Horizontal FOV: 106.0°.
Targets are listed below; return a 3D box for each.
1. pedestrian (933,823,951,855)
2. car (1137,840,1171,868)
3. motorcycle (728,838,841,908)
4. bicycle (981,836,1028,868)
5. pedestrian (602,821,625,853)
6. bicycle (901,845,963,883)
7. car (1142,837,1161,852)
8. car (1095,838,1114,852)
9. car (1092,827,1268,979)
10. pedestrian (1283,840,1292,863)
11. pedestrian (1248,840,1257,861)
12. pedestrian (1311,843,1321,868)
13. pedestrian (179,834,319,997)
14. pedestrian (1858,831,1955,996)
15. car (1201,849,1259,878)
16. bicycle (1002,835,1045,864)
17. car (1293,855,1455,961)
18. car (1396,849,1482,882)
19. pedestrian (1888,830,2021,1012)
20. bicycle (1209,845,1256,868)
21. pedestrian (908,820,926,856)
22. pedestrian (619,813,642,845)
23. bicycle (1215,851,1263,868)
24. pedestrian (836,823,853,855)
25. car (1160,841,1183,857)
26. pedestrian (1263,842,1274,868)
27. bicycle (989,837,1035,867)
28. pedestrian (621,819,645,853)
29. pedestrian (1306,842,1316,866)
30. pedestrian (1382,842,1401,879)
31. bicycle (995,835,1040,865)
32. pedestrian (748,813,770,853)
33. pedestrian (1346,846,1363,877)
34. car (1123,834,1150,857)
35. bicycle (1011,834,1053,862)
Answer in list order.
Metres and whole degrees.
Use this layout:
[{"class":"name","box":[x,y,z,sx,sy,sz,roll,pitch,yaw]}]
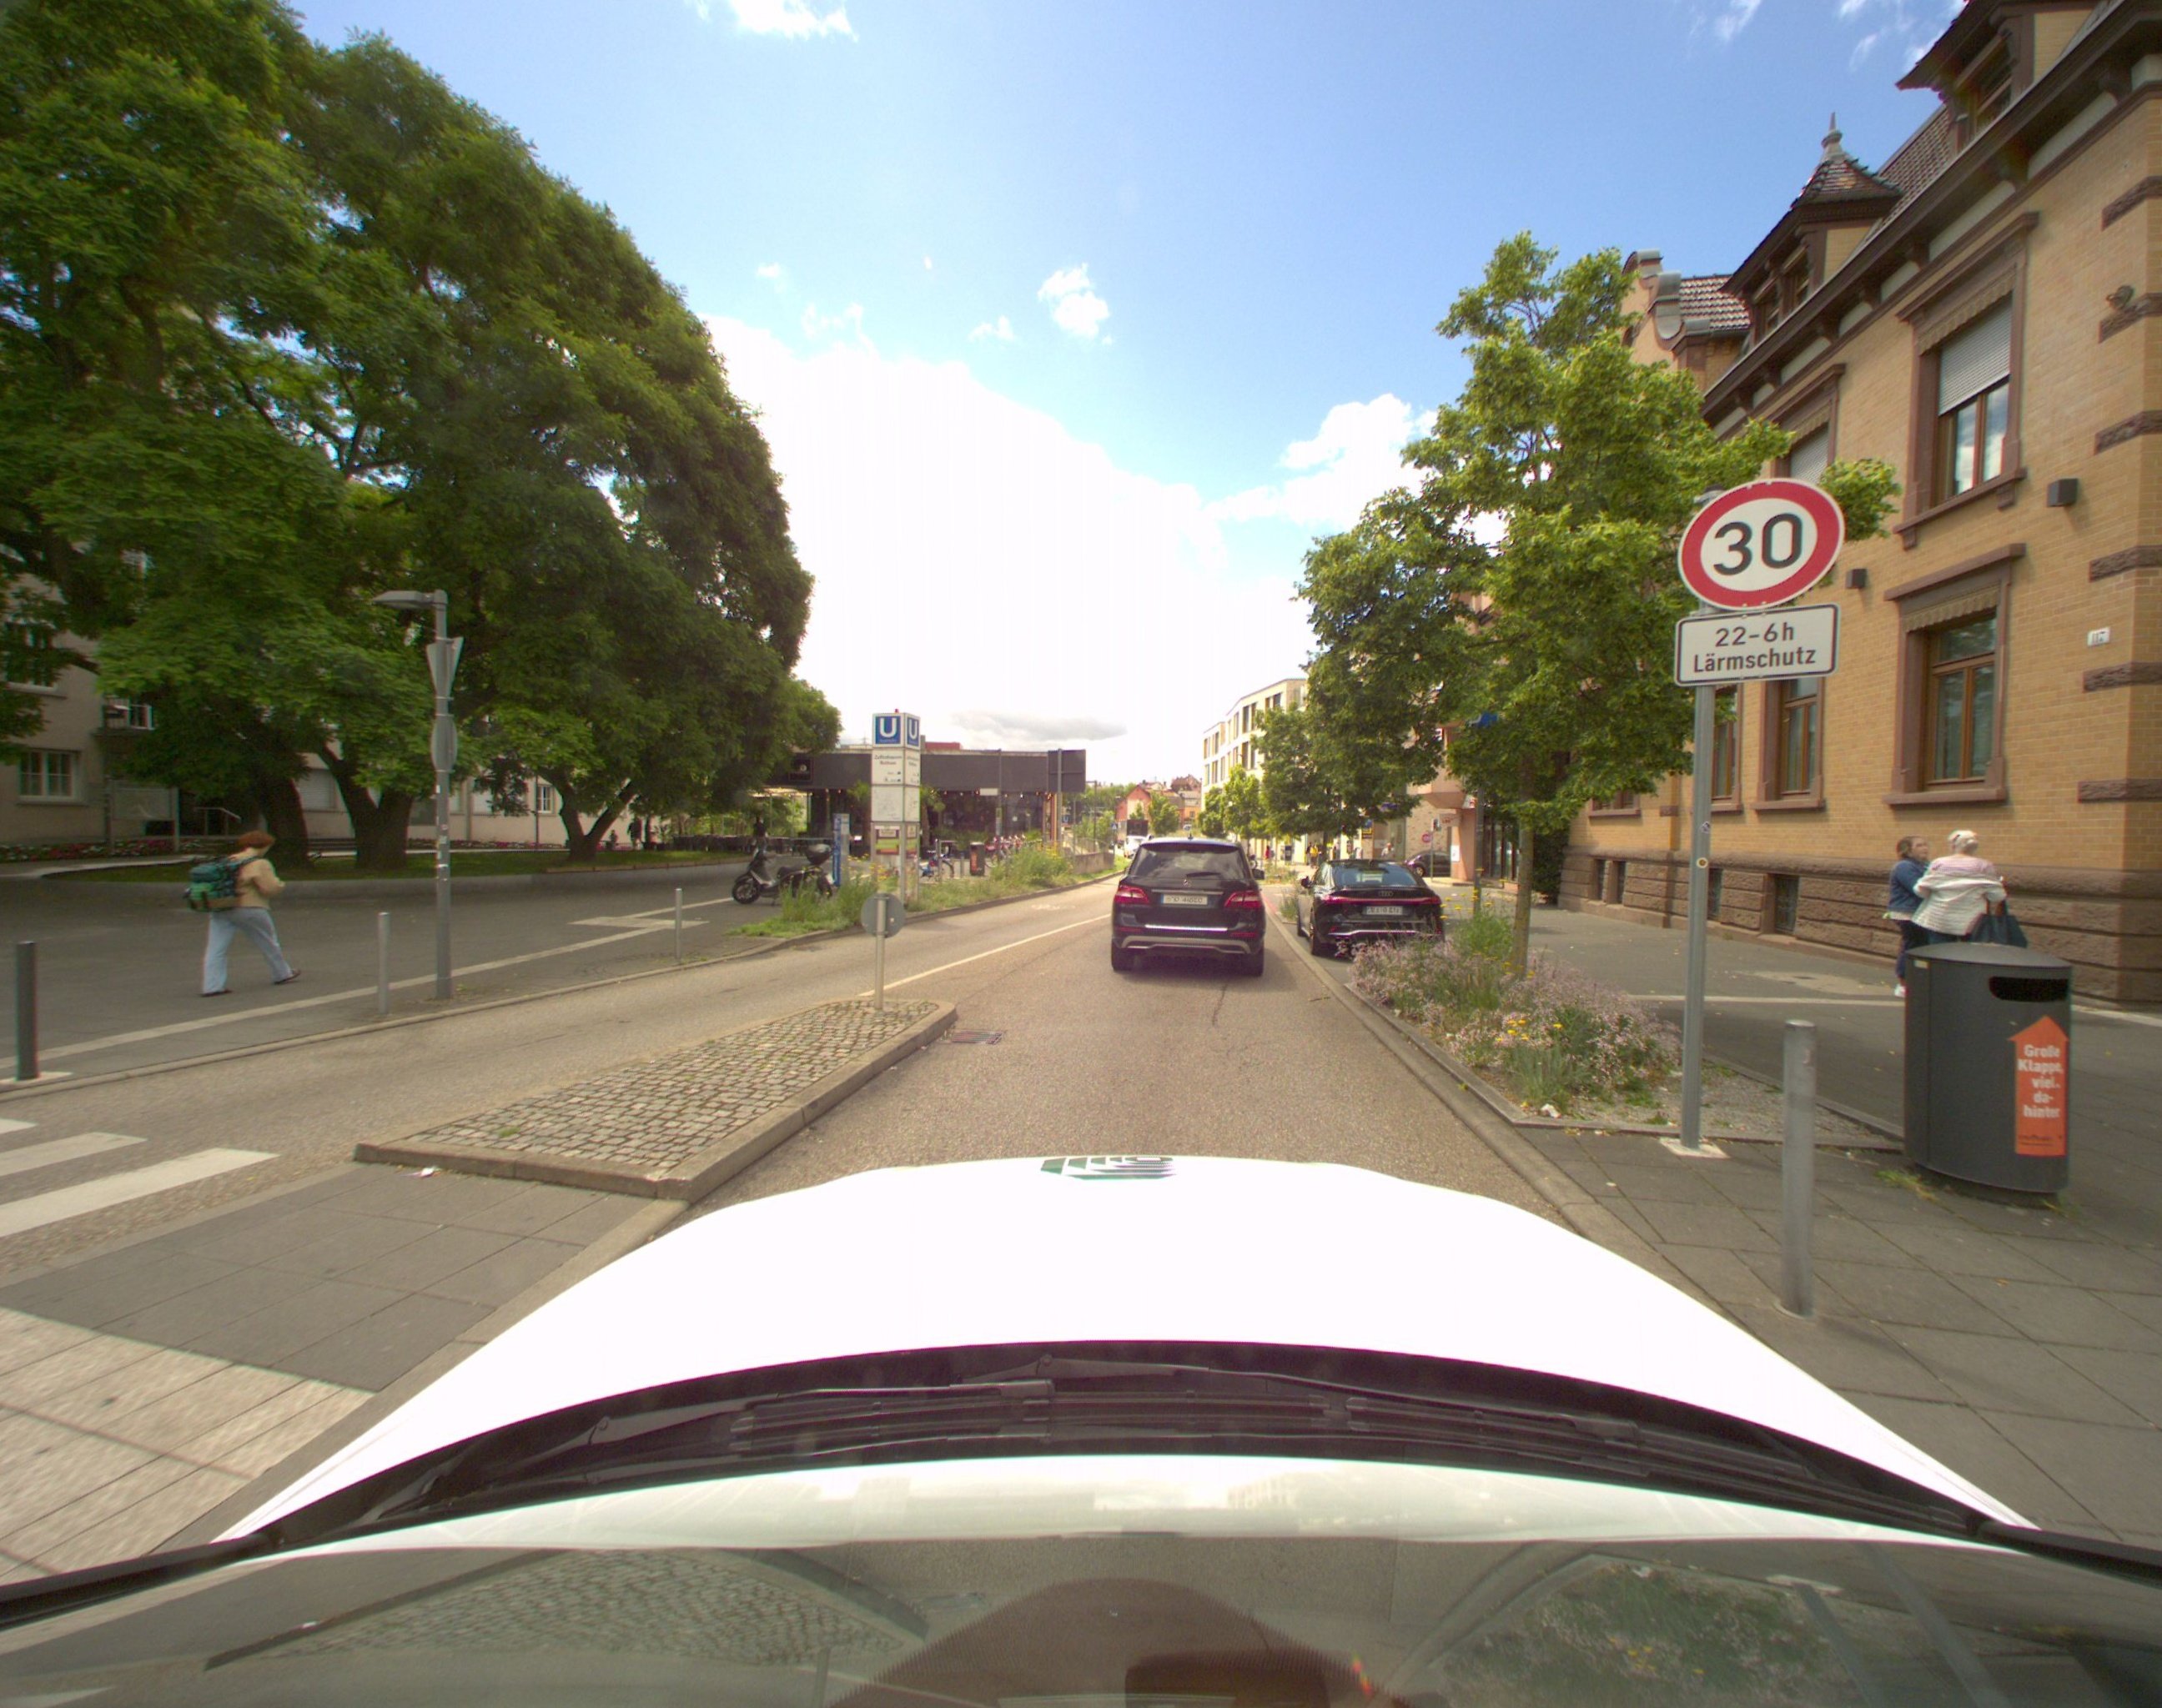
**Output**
[{"class":"pedestrian","box":[-6.472,-0.696,37.879,0.576,1.463,0.619,0,0,18]},{"class":"car","box":[4.598,-0.012,51.034,1.830,1.607,4.009,3,1,8]},{"class":"motorcycle","box":[-5.952,0.360,16.370,2.118,1.289,0.585,2,3,11]},{"class":"bicycle","box":[-2.711,-0.077,29.017,1.558,1.091,0.580,0,0,10]},{"class":"pedestrian","box":[-22.801,-0.828,39.721,0.631,1.577,0.791,0,0,10]},{"class":"bicycle","box":[-4.076,0.258,22.226,1.599,0.997,0.502,0,0,15]},{"class":"car","box":[7.362,-0.997,85.224,1.832,1.524,4.005,3,1,4]},{"class":"car","box":[2.783,-1.090,98.971,1.837,1.607,3.994,3,1,-4]},{"class":"car","box":[1.554,0.556,11.630,2.014,1.727,4.447,-1,0,11]},{"class":"pedestrian","box":[15.166,-0.171,59.914,0.556,1.682,0.569,0,0,6]},{"class":"pedestrian","box":[14.034,-0.266,66.683,0.559,1.682,0.566,0,0,-12]},{"class":"pedestrian","box":[15.718,0.102,54.517,0.556,1.691,0.640,0,0,7]},{"class":"pedestrian","box":[-8.294,0.572,8.147,0.546,1.514,0.791,2,3,16]},{"class":"pedestrian","box":[8.471,0.593,8.376,0.500,1.629,0.512,-1,0,16]},{"class":"car","box":[7.600,0.444,41.225,1.593,1.383,3.861,0,1,32]},{"class":"bicycle","box":[-2.231,-0.187,31.484,1.558,1.091,0.580,0,0,10]},{"class":"car","box":[4.565,0.743,13.328,1.844,1.406,4.388,-1,0,11]},{"class":"car","box":[19.790,0.601,45.115,3.964,1.566,1.851,3,1,8]},{"class":"pedestrian","box":[8.254,0.596,7.711,0.554,1.629,0.673,-1,0,-18]},{"class":"bicycle","box":[10.201,0.163,54.890,3.045,1.486,0.711,0,0,5]},{"class":"pedestrian","box":[-7.473,-0.737,37.064,0.608,1.618,0.586,0,1,45]},{"class":"pedestrian","box":[-22.350,-1.216,40.404,0.781,1.577,0.638,0,0,8]},{"class":"bicycle","box":[10.389,0.359,53.473,3.045,1.146,0.711,0,0,5]},{"class":"pedestrian","box":[-10.177,-0.651,35.019,0.579,1.379,0.615,0,0,-3]},{"class":"car","box":[8.015,-0.463,72.162,1.603,1.383,3.836,0,1,0]},{"class":"pedestrian","box":[12.613,0.057,54.704,0.659,1.682,0.569,0,0,4]},{"class":"bicycle","box":[-2.518,-0.091,29.767,1.558,1.069,0.540,0,0,10]},{"class":"pedestrian","box":[-21.712,-0.888,39.504,0.781,1.627,0.638,0,0,8]},{"class":"pedestrian","box":[16.059,-0.001,56.887,0.556,1.682,0.569,0,0,6]},{"class":"pedestrian","box":[13.774,0.295,36.169,0.628,1.626,0.701,0,0,8]},{"class":"bicycle","box":[-2.382,-0.157,30.610,1.558,1.091,0.580,0,0,10]},{"class":"pedestrian","box":[-13.007,-0.841,32.937,0.611,1.577,0.584,0,0,5]},{"class":"pedestrian","box":[14.070,0.362,41.855,0.707,1.563,0.569,0,0,6]},{"class":"car","box":[4.925,-0.789,72.751,1.836,1.858,4.494,3,1,-3]},{"class":"bicycle","box":[-1.957,-0.244,32.385,1.558,1.091,0.580,0,0,10]}]
